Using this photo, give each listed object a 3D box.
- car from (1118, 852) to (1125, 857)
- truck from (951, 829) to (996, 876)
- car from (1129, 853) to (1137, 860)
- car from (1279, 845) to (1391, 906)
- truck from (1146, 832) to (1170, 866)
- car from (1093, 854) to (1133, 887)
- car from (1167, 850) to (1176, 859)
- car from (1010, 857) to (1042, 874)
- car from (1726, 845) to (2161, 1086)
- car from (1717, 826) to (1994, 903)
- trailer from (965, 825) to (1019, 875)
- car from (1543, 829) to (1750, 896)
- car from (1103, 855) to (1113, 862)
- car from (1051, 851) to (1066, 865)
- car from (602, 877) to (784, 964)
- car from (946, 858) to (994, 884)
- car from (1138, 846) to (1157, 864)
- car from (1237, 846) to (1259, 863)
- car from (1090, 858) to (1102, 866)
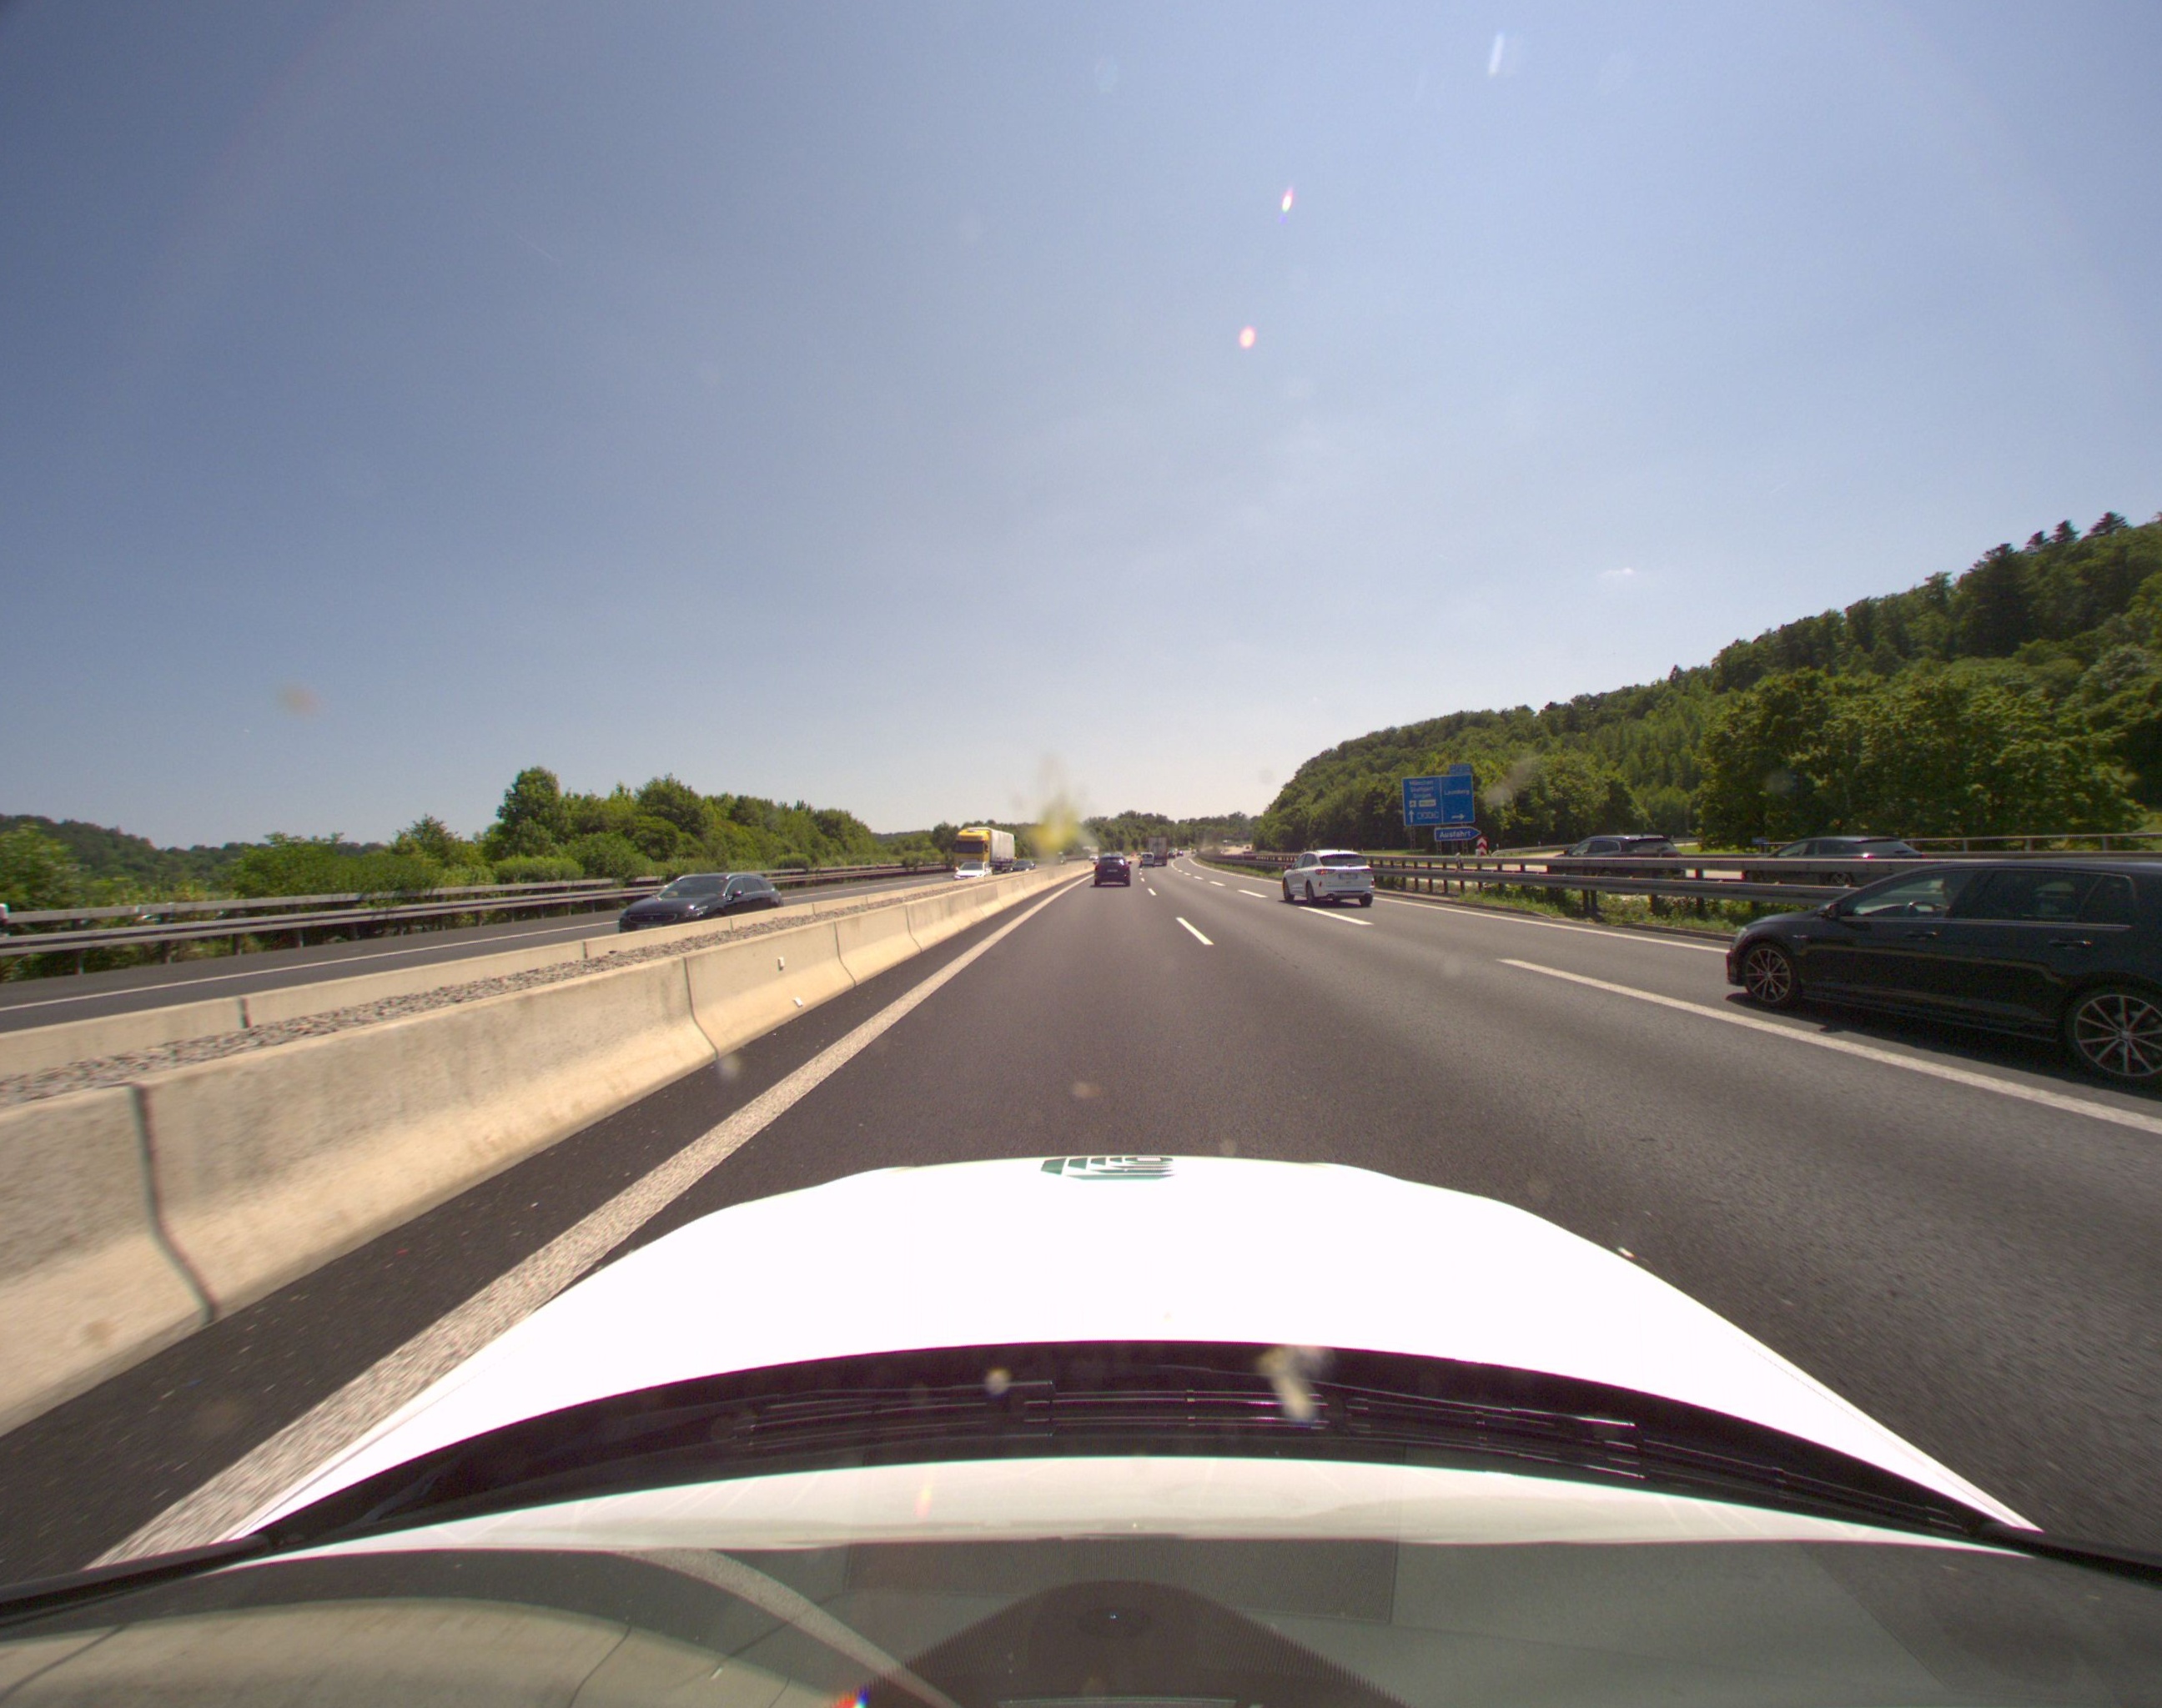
[{"bbox_3d":[11.464,0.202,230.477,1.841,1.394,4.008,0,0,7],"label":"car"},{"bbox_3d":[-9.066,-0.107,69.277,2.737,3.754,4.872,-1,-1,4],"label":"truck"},{"bbox_3d":[14.681,0.708,230.898,1.983,1.659,4.642,-1,0,6],"label":"car"},{"bbox_3d":[7.632,0.611,24.950,1.988,1.662,4.466,-1,0,-1],"label":"car"},{"bbox_3d":[10.759,-0.616,112.941,3.016,4.418,12.041,-1,0,7],"label":"truck"},{"bbox_3d":[1.575,0.826,41.885,1.774,1.577,3.997,-1,0,-2],"label":"car"},{"bbox_3d":[20.872,0.034,187.912,1.984,2.014,4.006,-1,-1,6],"label":"car"},{"bbox_3d":[-4.595,0.918,68.776,1.984,1.349,4.265,-1,0,5],"label":"car"},{"bbox_3d":[7.393,0.669,6.246,1.788,1.435,3.967,-1,0,1],"label":"car"},{"bbox_3d":[19.197,0.252,20.641,1.988,1.662,5.226,-1,0,-1],"label":"car"},{"bbox_3d":[-8.328,-0.316,78.105,2.705,4.312,12.840,-1,0,5],"label":"trailer"},{"bbox_3d":[15.947,0.239,23.487,1.988,1.662,5.624,-1,0,-1],"label":"car"},{"bbox_3d":[6.814,1.109,204.354,1.984,1.543,5.049,-1,0,6],"label":"car"},{"bbox_3d":[-3.507,0.552,127.504,1.985,2.081,4.708,-2,0,3],"label":"car"},{"bbox_3d":[-8.301,1.341,17.949,1.722,1.536,4.613,-1,0,1],"label":"car"},{"bbox_3d":[-6.553,0.969,48.548,1.986,1.374,4.664,-2,0,2],"label":"car"},{"bbox_3d":[8.169,0.126,99.767,1.983,2.013,4.007,-4,0,6],"label":"car"},{"bbox_3d":[20.715,0.026,101.125,1.986,2.013,4.002,-3,0,2],"label":"car"},{"bbox_3d":[3.222,1.634,174.590,1.858,1.666,4.675,-1,0,8],"label":"car"}]
